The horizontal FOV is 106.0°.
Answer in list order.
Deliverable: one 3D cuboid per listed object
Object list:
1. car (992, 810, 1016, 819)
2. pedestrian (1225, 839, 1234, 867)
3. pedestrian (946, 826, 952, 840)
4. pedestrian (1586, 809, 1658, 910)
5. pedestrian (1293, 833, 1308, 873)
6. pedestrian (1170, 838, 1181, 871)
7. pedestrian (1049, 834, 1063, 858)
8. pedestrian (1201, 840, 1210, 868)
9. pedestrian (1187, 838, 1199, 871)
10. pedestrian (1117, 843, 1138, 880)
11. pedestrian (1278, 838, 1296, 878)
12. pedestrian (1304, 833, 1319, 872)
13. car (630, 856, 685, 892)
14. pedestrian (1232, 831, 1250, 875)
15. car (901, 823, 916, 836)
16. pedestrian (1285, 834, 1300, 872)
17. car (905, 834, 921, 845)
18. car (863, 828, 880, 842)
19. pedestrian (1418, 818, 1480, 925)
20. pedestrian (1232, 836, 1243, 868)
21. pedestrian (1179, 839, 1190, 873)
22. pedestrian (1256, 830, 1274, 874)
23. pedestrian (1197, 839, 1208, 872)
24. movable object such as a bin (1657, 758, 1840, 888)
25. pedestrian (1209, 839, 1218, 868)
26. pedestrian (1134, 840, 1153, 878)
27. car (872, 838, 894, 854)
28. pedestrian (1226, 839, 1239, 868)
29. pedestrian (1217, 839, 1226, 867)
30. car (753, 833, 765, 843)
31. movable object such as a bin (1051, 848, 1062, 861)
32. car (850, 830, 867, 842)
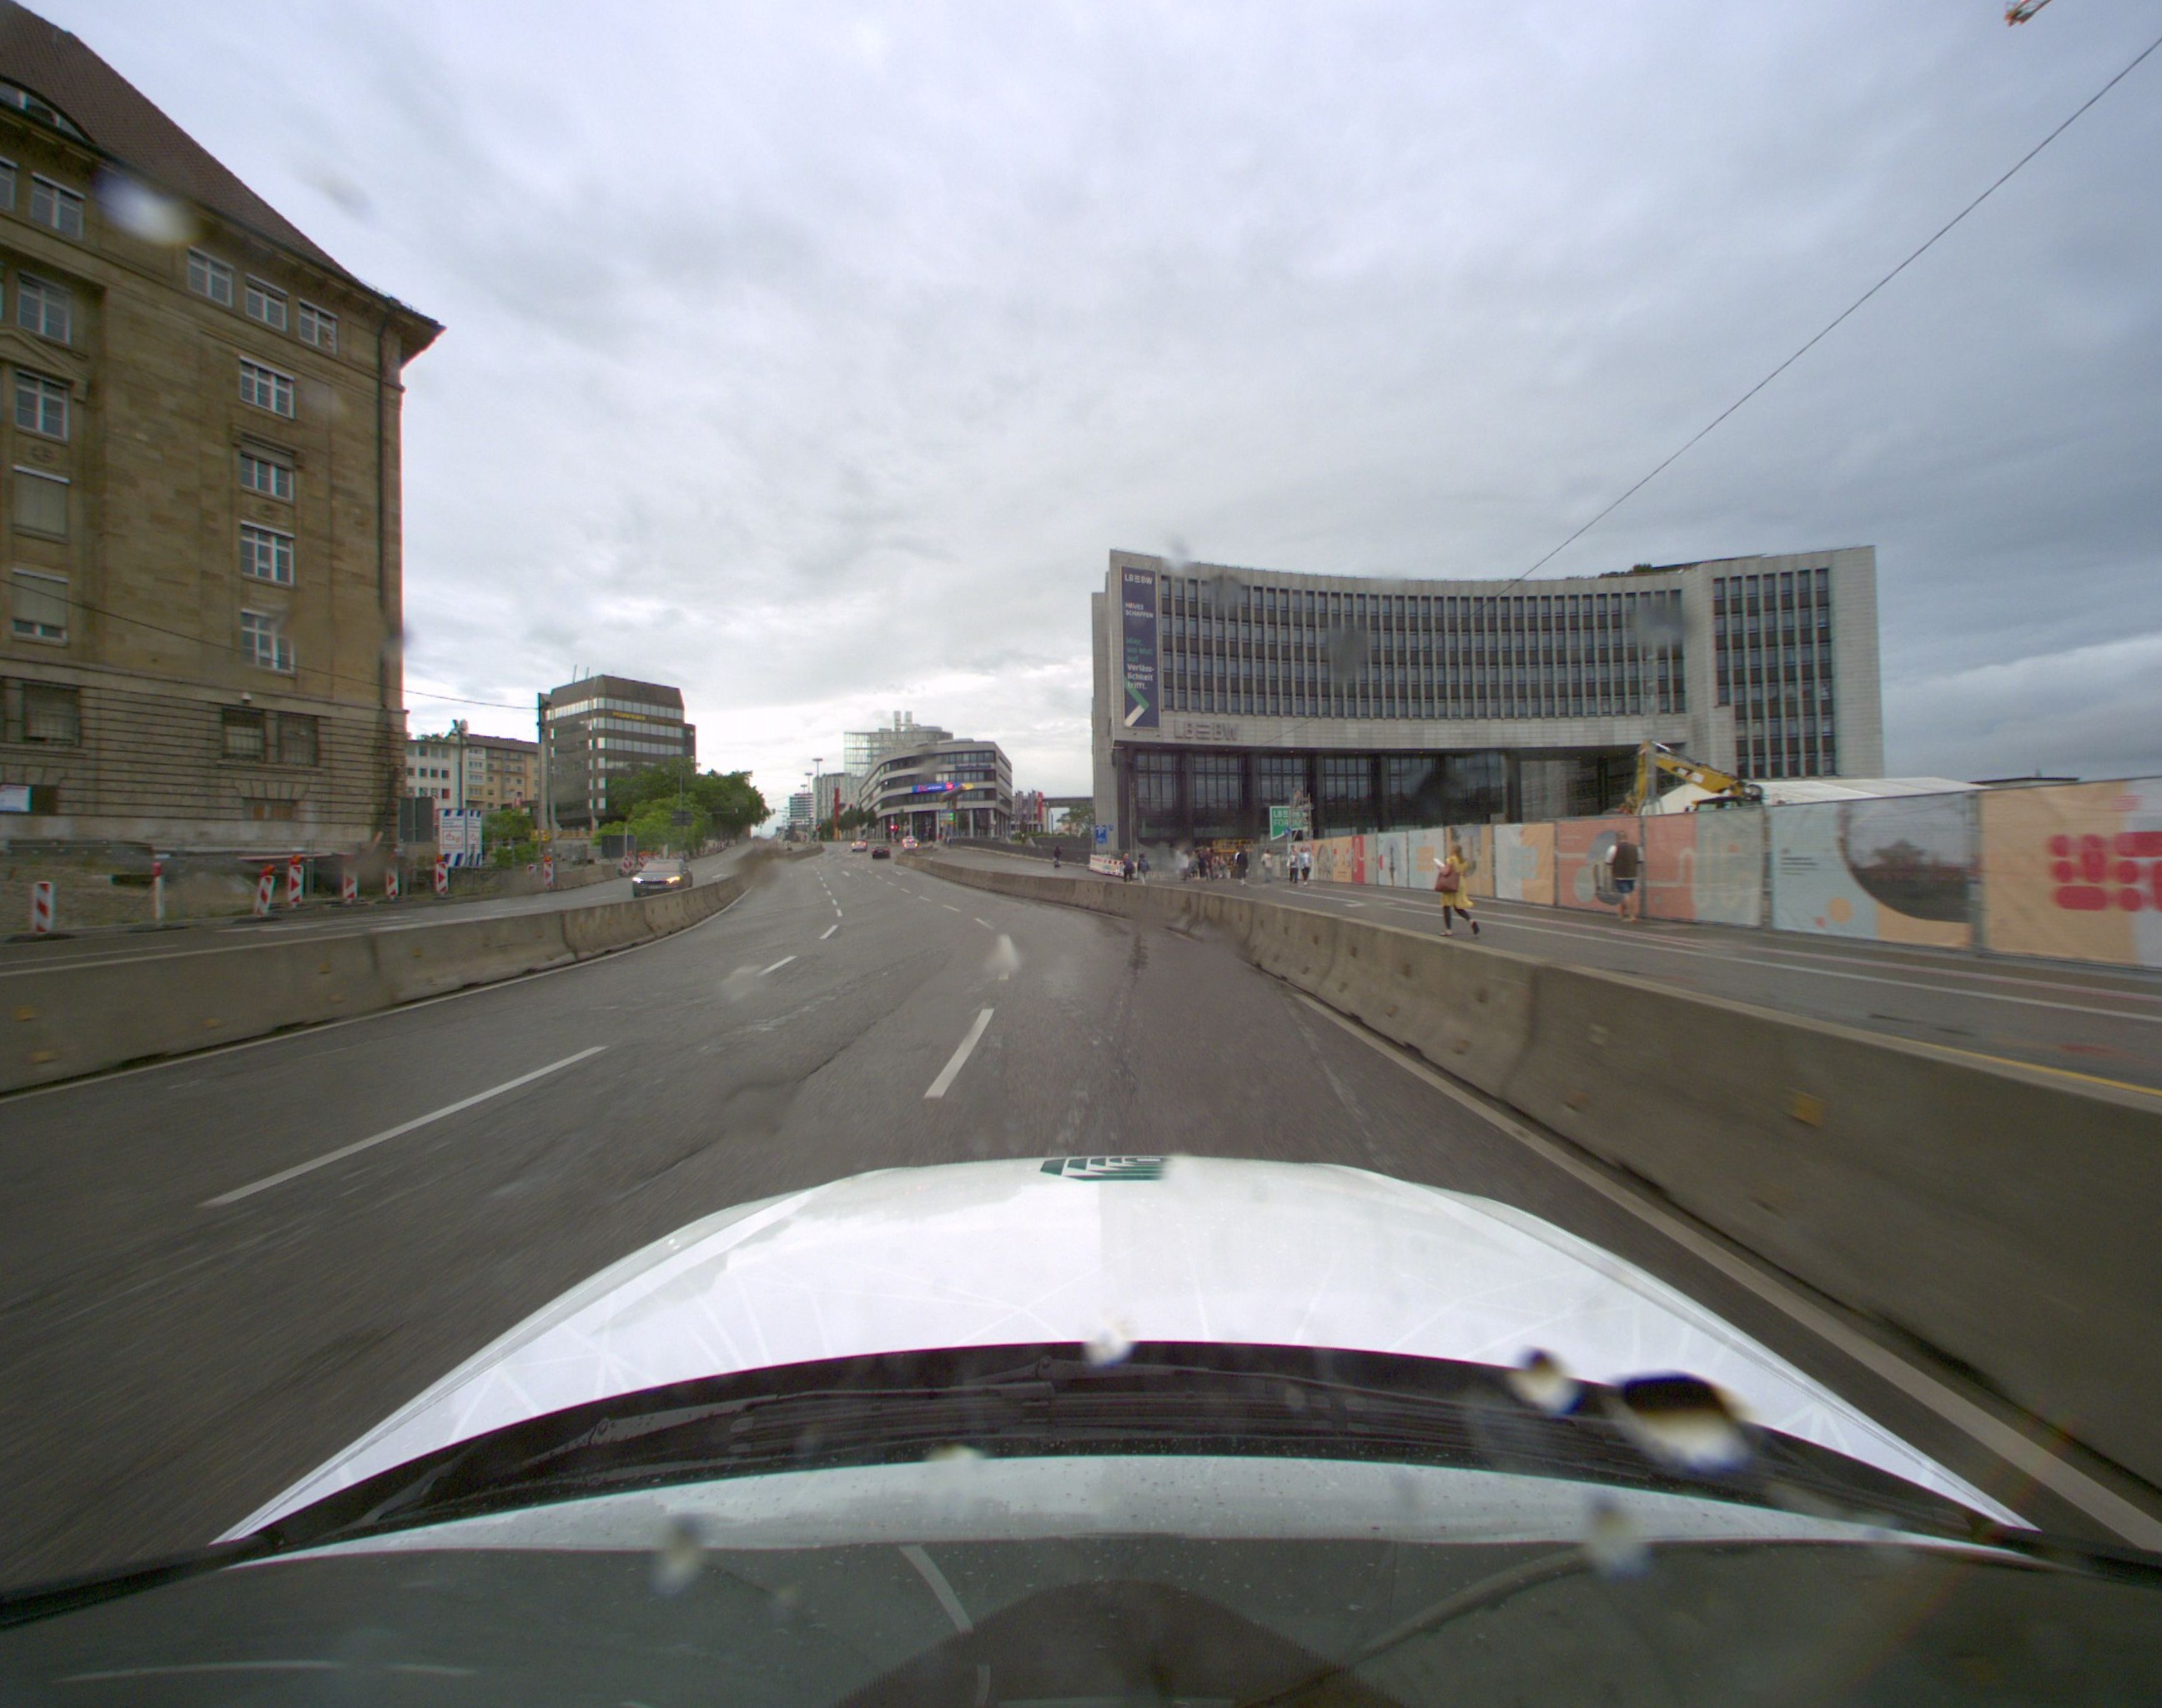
[{"bbox_3d":[-12.869,-6.522,135.814,1.606,1.434,3.763,-1,1,43],"label":"car"},{"bbox_3d":[9.013,-0.047,49.480,0.445,1.704,0.649,-1,1,12],"label":"pedestrian"},{"bbox_3d":[-16.828,-2.692,103.725,0.622,1.764,0.591,-1,0,6],"label":"pedestrian"},{"bbox_3d":[10.417,0.109,15.710,0.776,1.862,0.811,-3,0,0],"label":"pedestrian"},{"bbox_3d":[9.553,-0.032,35.440,0.446,1.705,0.647,-1,0,3],"label":"pedestrian"},{"bbox_3d":[4.899,0.009,42.115,0.447,1.705,0.646,-1,0,-1],"label":"pedestrian"},{"bbox_3d":[-1.849,-0.607,60.804,0.758,1.790,1.051,-1,-1,-17],"label":"pedestrian"},{"bbox_3d":[7.610,-0.009,49.782,0.445,1.705,0.649,-1,0,12],"label":"pedestrian"},{"bbox_3d":[5.828,0.030,42.393,0.452,1.705,0.646,-1,0,-1],"label":"pedestrian"},{"bbox_3d":[2.083,0.330,36.327,0.750,1.642,0.821,-1,0,-8],"label":"pedestrian"},{"bbox_3d":[8.983,0.184,35.499,0.623,1.705,0.647,-1,0,3],"label":"pedestrian"},{"bbox_3d":[10.077,-0.073,35.614,0.500,1.705,0.647,-1,0,3],"label":"pedestrian"},{"bbox_3d":[-17.372,0.841,33.556,1.608,1.352,3.726,0,-3,-21],"label":"car"},{"bbox_3d":[7.447,-0.046,37.995,0.779,2.013,0.865,-1,0,10],"label":"pedestrian"},{"bbox_3d":[-25.494,-3.582,120.351,1.994,1.804,4.251,-1,0,-10],"label":"car"},{"bbox_3d":[9.669,-0.065,37.200,0.498,1.705,0.733,-1,0,2],"label":"pedestrian"},{"bbox_3d":[-21.239,-1.866,103.050,1.825,1.352,3.852,-1,1,-10],"label":"car"},{"bbox_3d":[-29.930,-2.695,116.607,1.994,1.804,4.251,-1,0,-10],"label":"car"},{"bbox_3d":[6.621,0.303,14.681,0.730,1.854,0.832,-1,-1,2],"label":"pedestrian"},{"bbox_3d":[9.028,-0.095,47.110,0.527,1.818,0.537,-1,0,4],"label":"pedestrian"},{"bbox_3d":[5.370,0.092,42.140,0.447,1.705,0.646,-1,0,-1],"label":"pedestrian"},{"bbox_3d":[8.524,-0.112,37.761,0.779,2.013,0.865,-1,0,10],"label":"pedestrian"},{"bbox_3d":[6.326,0.056,42.495,0.447,1.705,0.646,-1,0,-1],"label":"pedestrian"},{"bbox_3d":[22.376,-0.979,27.468,3.096,4.030,3.673,-1,-1,-19],"label":"movable object such as a bin"},{"bbox_3d":[8.078,-0.036,49.695,0.445,1.705,0.649,-1,0,12],"label":"pedestrian"},{"bbox_3d":[2.790,0.213,36.432,0.658,1.642,0.821,-1,0,-8],"label":"pedestrian"},{"bbox_3d":[-21.266,-0.812,87.586,1.671,1.508,3.738,-1,-3,-5],"label":"car"},{"bbox_3d":[9.059,-0.038,48.702,0.514,1.705,0.569,-1,0,-33],"label":"pedestrian"},{"bbox_3d":[8.546,-0.043,49.572,0.445,1.705,0.649,-1,0,12],"label":"pedestrian"},{"bbox_3d":[-54.882,-2.715,138.830,1.606,1.352,3.731,-1,-3,-17],"label":"car"},{"bbox_3d":[-1.799,0.056,60.367,0.599,0.934,0.737,-1,-2,-17],"label":"movable object such as a bin"},{"bbox_3d":[-29.133,-2.347,106.466,1.748,1.506,3.727,-1,0,-21],"label":"car"}]
